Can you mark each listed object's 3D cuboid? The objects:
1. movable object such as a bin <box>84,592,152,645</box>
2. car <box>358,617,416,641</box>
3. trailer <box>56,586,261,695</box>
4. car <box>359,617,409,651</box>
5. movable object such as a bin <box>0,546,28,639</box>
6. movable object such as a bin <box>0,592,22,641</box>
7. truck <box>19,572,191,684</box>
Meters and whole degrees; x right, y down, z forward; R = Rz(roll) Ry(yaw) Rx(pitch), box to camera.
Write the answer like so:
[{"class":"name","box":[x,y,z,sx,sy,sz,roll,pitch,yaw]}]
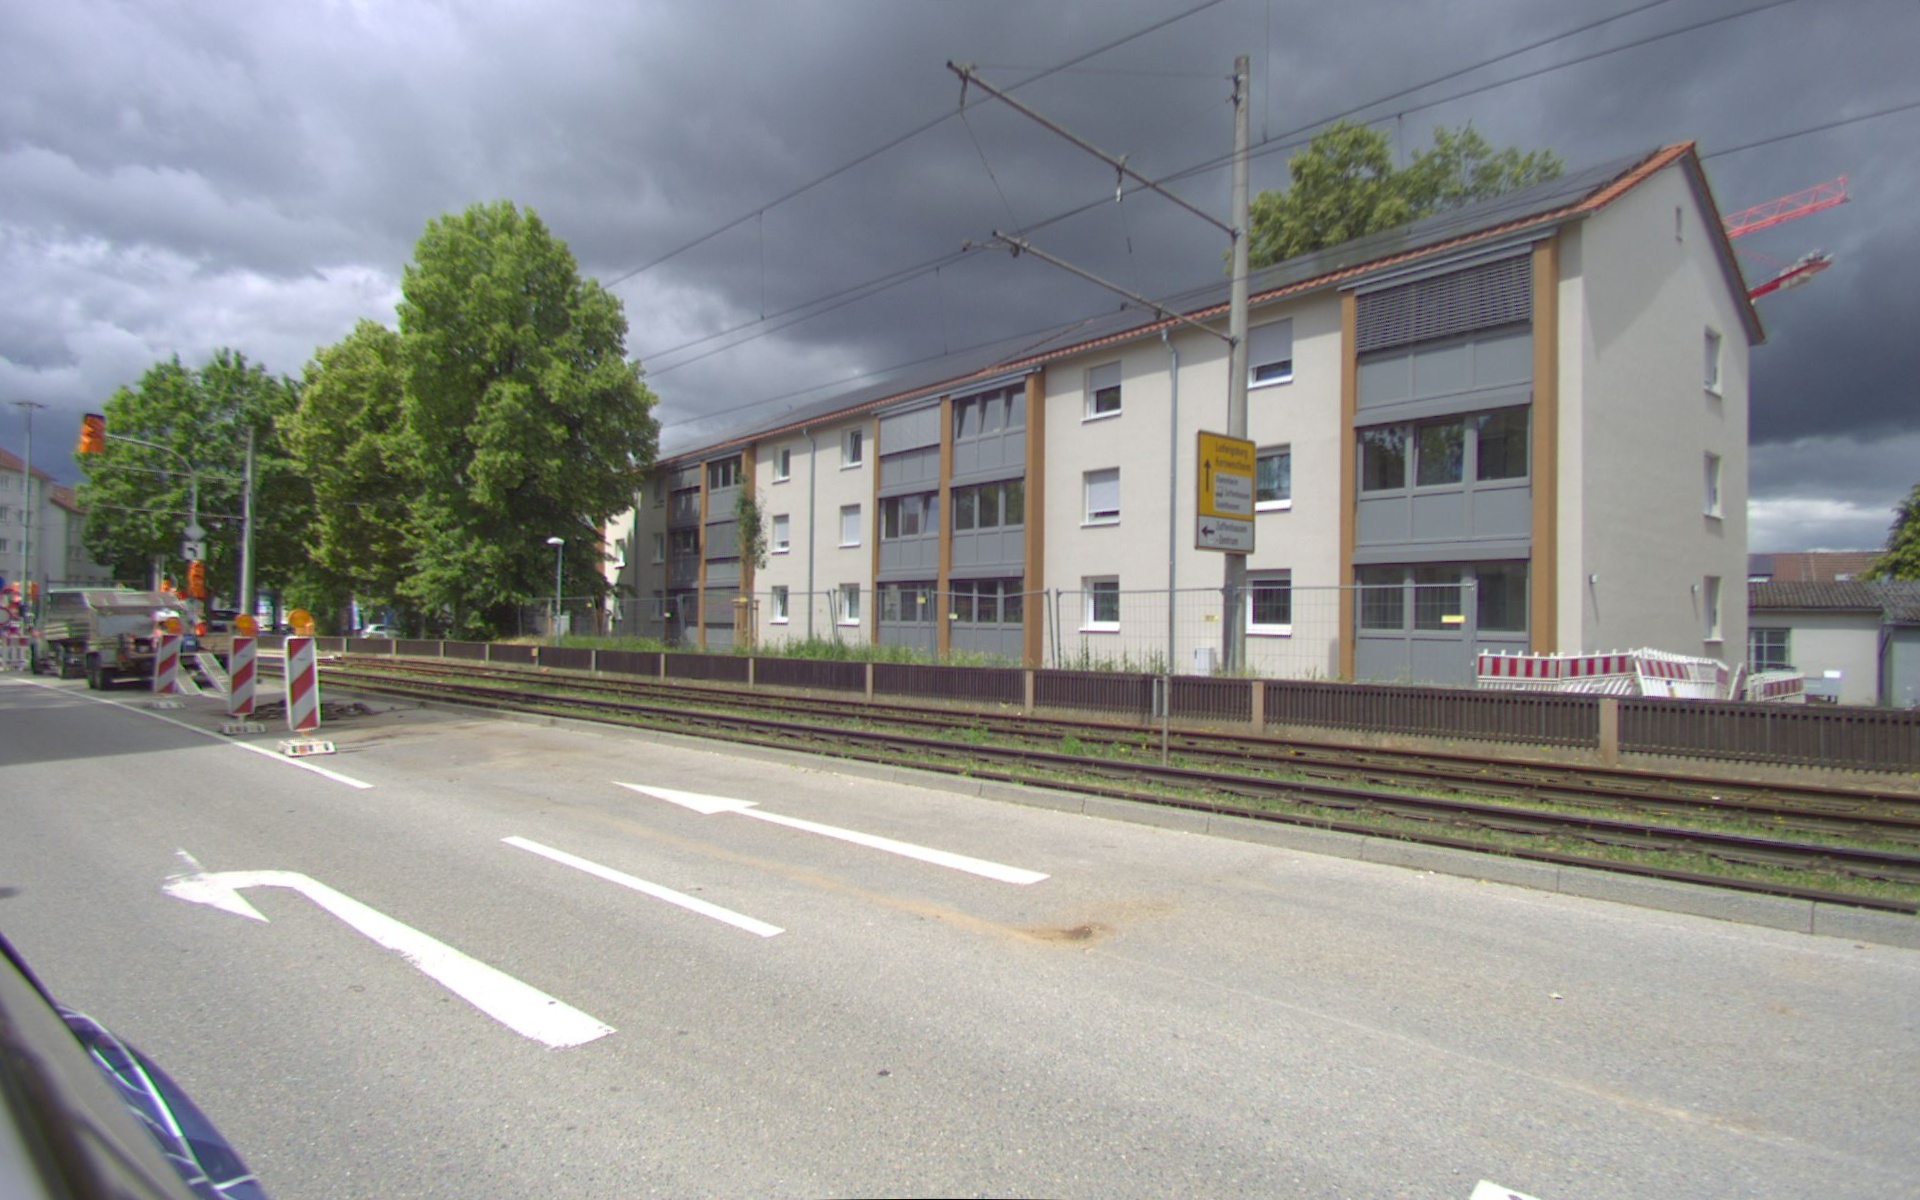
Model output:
[{"class":"movable object such as a bin","box":[-75.574,1.720,91.006,2.777,4.570,6.229,1,-2,-22]},{"class":"car","box":[-37.519,1.910,66.278,3.150,1.466,1.568,2,-3,-35]},{"class":"trailer","box":[-18.906,0.857,23.748,6.243,2.230,2.635,-1,-1,40]},{"class":"car","box":[-33.948,1.975,59.566,1.967,1.901,5.263,1,-2,-36]},{"class":"movable object such as a bin","box":[-58.787,-0.542,57.398,2.787,5.527,9.017,0,-2,6]},{"class":"movable object such as a bin","box":[-53.513,0.900,54.477,2.080,2.689,5.604,1,-1,-16]},{"class":"truck","box":[-23.651,0.727,27.902,6.391,2.746,2.635,-1,-1,41]}]
